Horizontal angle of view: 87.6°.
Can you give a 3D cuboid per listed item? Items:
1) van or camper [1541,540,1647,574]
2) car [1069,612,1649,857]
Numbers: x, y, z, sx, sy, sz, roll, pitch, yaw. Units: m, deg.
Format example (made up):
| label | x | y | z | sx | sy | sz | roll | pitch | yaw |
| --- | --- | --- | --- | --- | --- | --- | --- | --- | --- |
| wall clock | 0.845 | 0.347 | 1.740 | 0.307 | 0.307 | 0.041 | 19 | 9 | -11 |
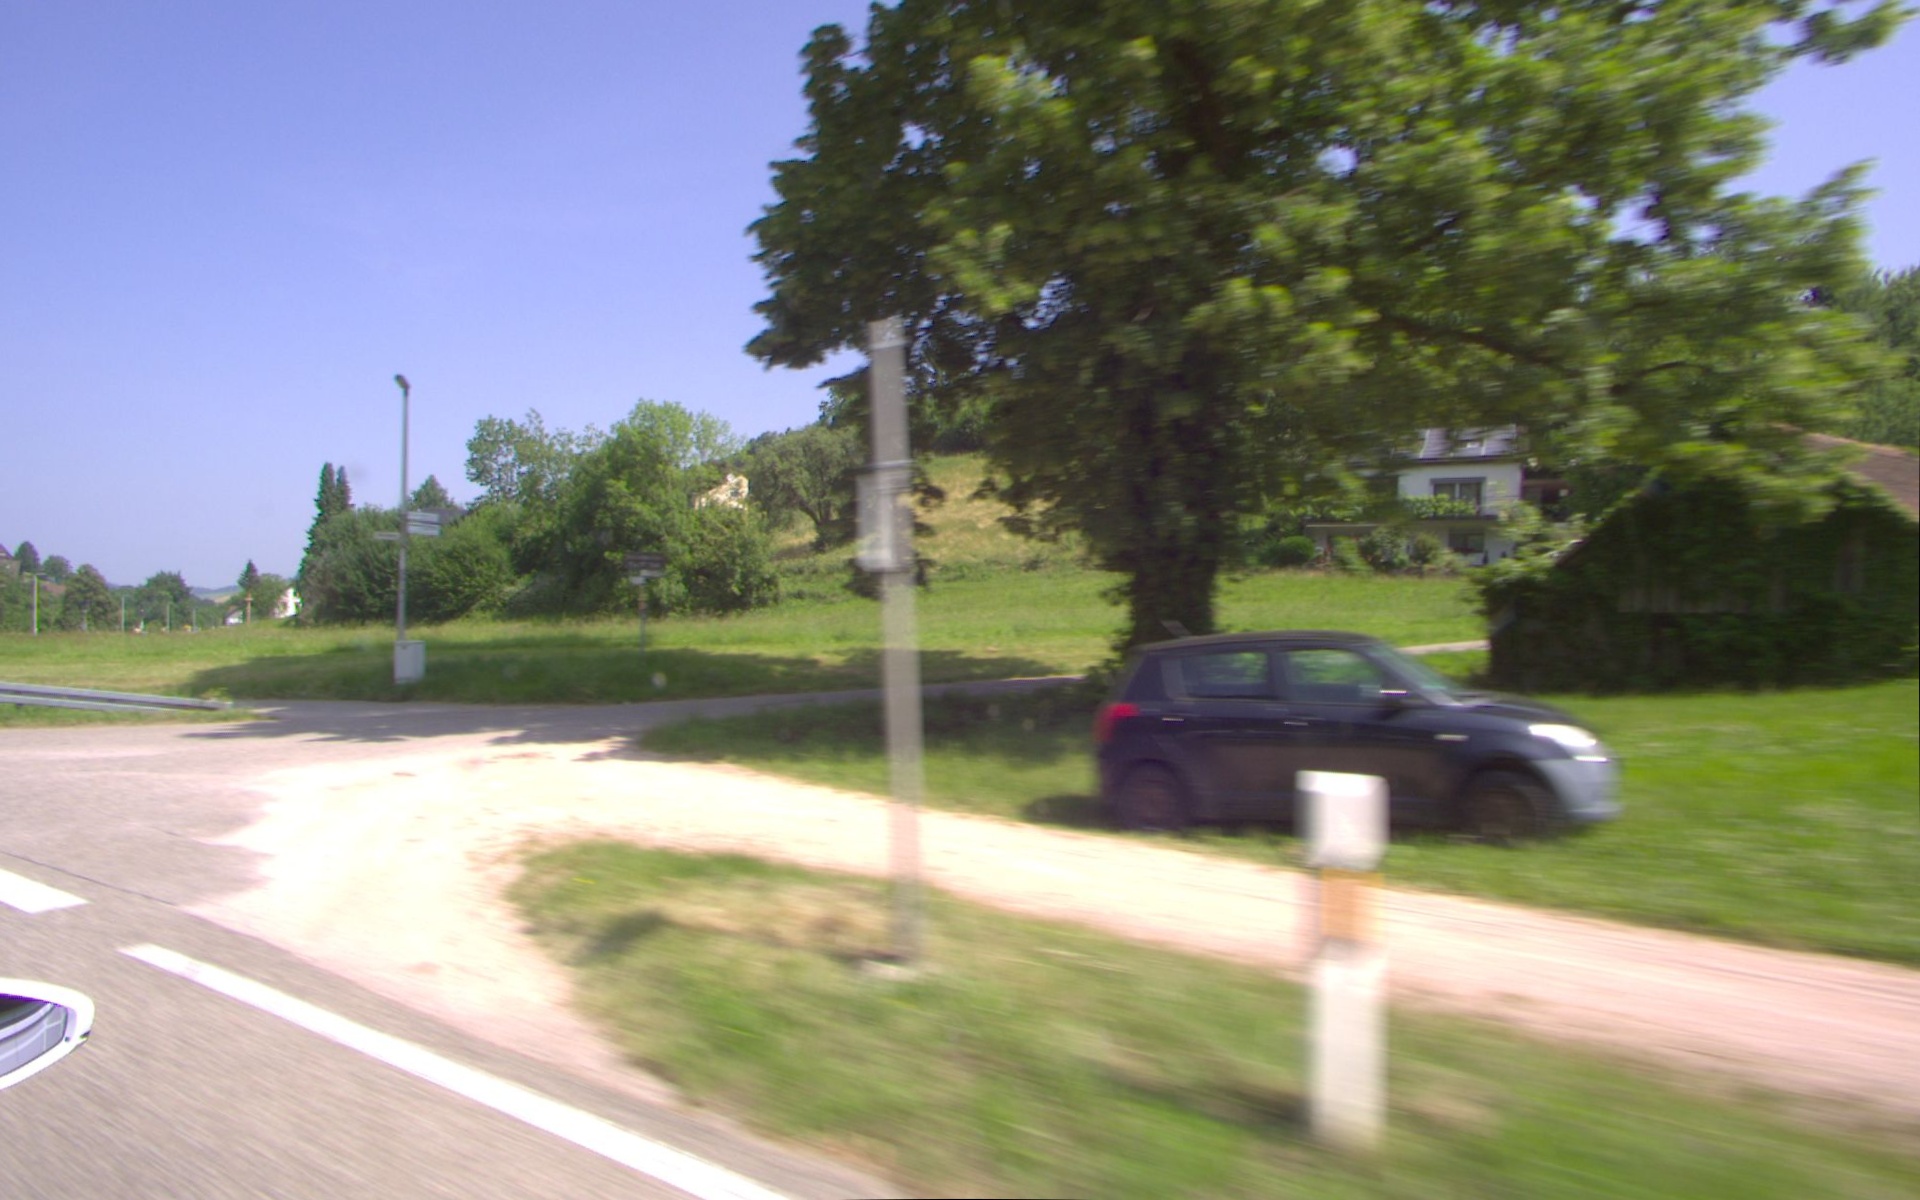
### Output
| label | x | y | z | sx | sy | sz | roll | pitch | yaw |
| --- | --- | --- | --- | --- | --- | --- | --- | --- | --- |
| van or camper | 36.615 | -2.457 | 57.965 | 4.965 | 1.663 | 2.026 | -1 | -1 | 26 |
| car | 2.844 | 0.909 | 7.646 | 3.653 | 1.476 | 1.674 | -2 | 0 | 22 |
